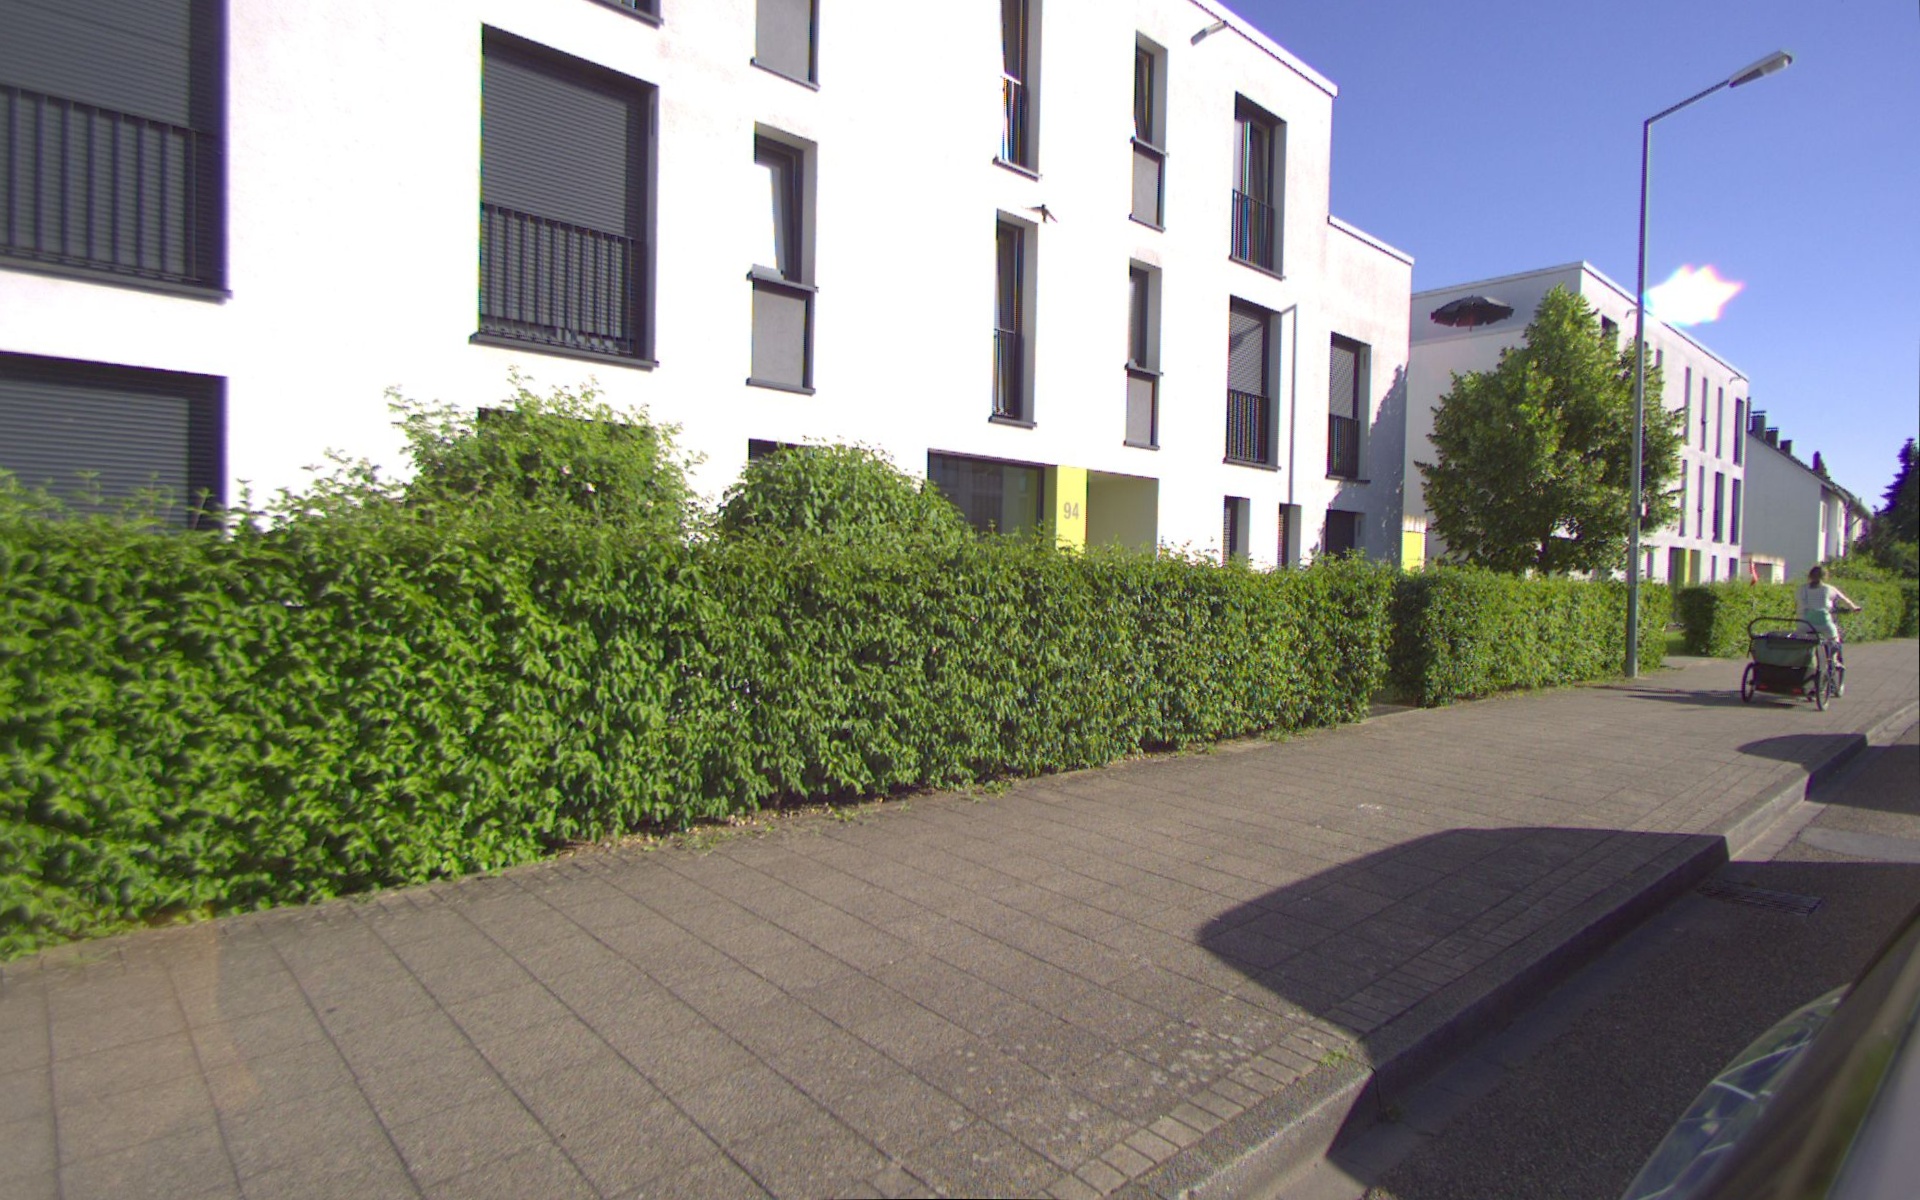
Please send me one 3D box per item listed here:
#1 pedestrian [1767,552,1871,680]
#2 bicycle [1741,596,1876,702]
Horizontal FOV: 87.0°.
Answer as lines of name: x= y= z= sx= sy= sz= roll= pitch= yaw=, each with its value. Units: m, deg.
pedestrian: x=11.428 y=0.186 z=13.467 sx=0.840 sy=1.613 sz=0.912 roll=0 pitch=2 yaw=-42
bicycle: x=11.134 y=0.572 z=13.231 sx=3.072 sy=1.187 sz=0.930 roll=-1 pitch=3 yaw=-43
